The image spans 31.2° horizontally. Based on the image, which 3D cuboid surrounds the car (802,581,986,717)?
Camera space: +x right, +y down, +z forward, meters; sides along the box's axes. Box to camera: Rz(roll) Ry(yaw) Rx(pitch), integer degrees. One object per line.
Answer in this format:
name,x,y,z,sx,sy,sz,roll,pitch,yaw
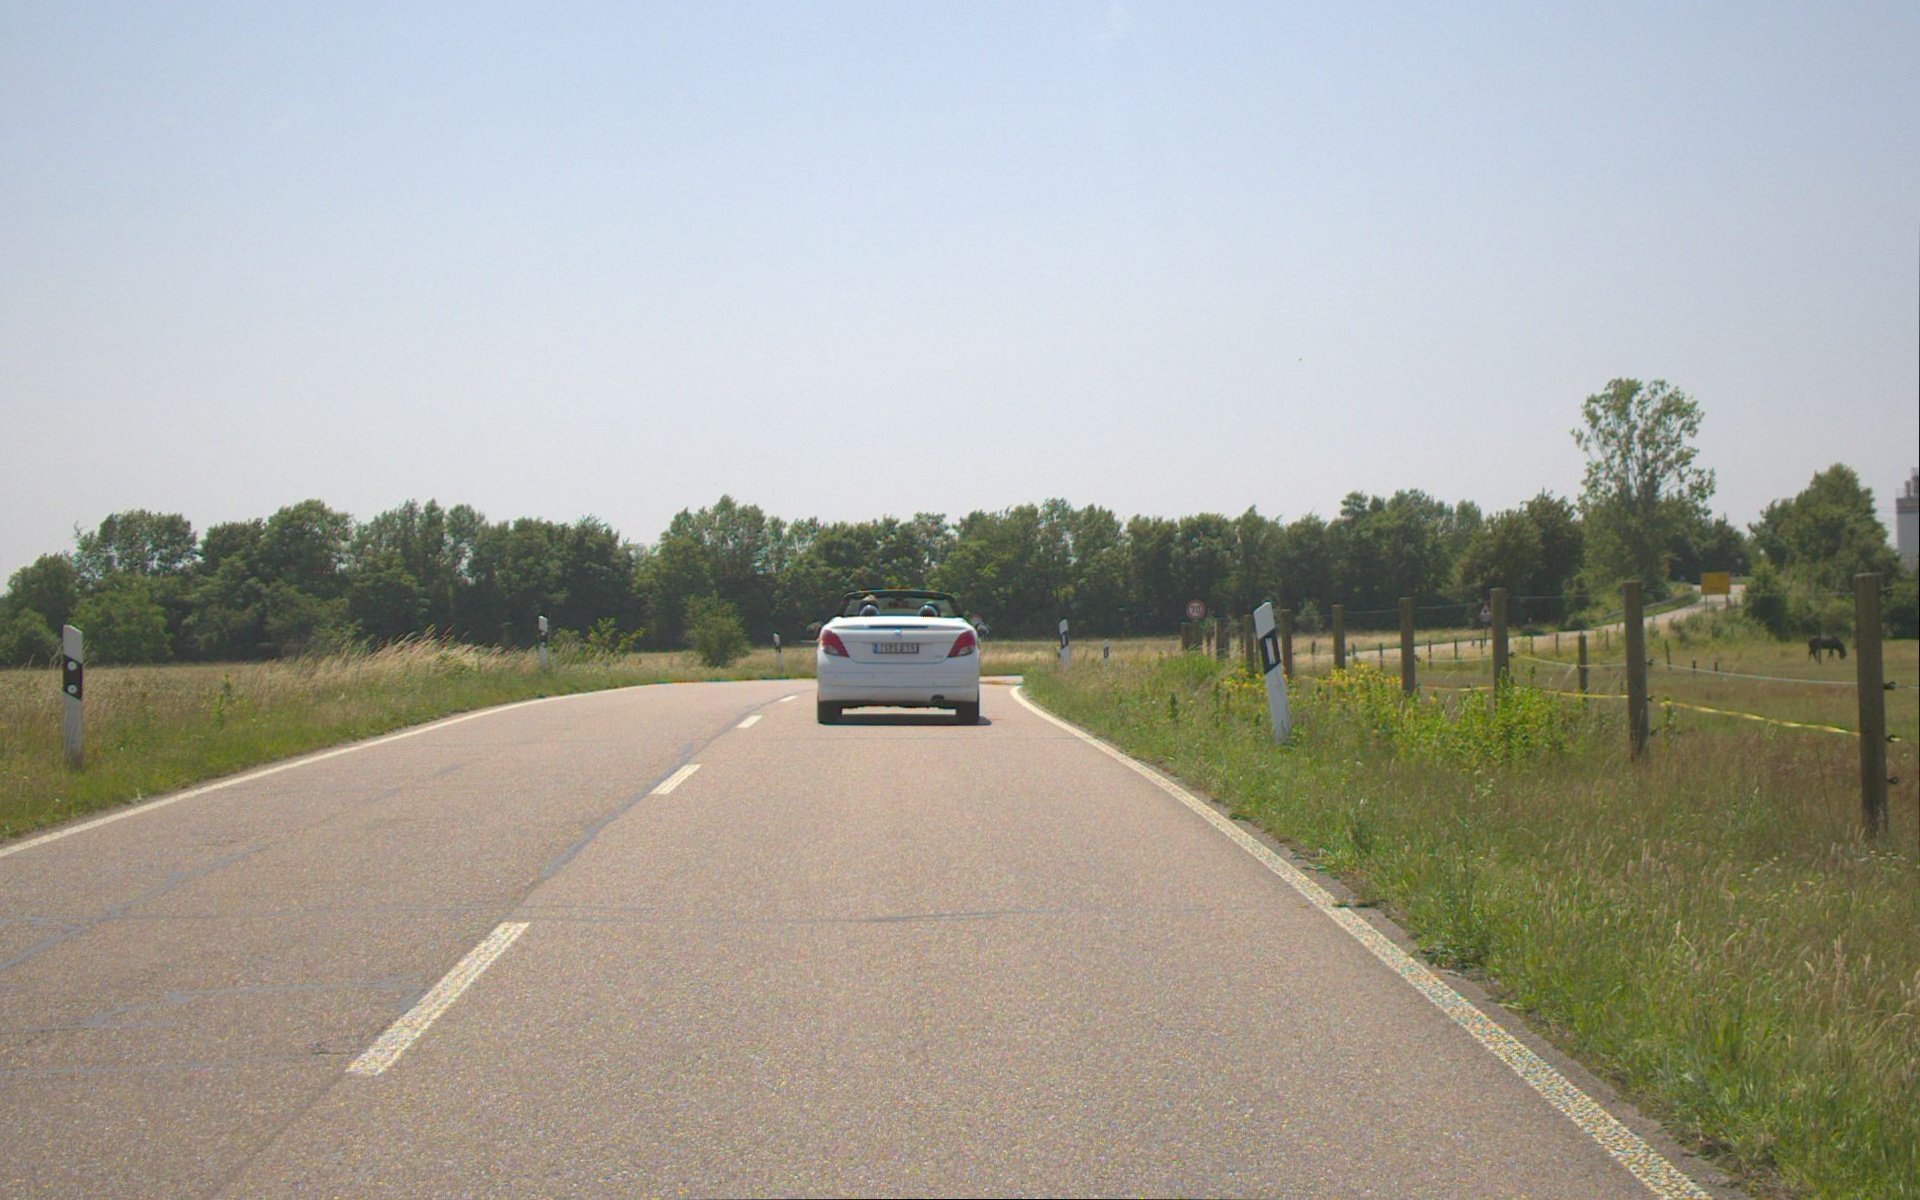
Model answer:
car,-0.682,0.491,36.640,1.851,1.375,4.000,0,0,0
